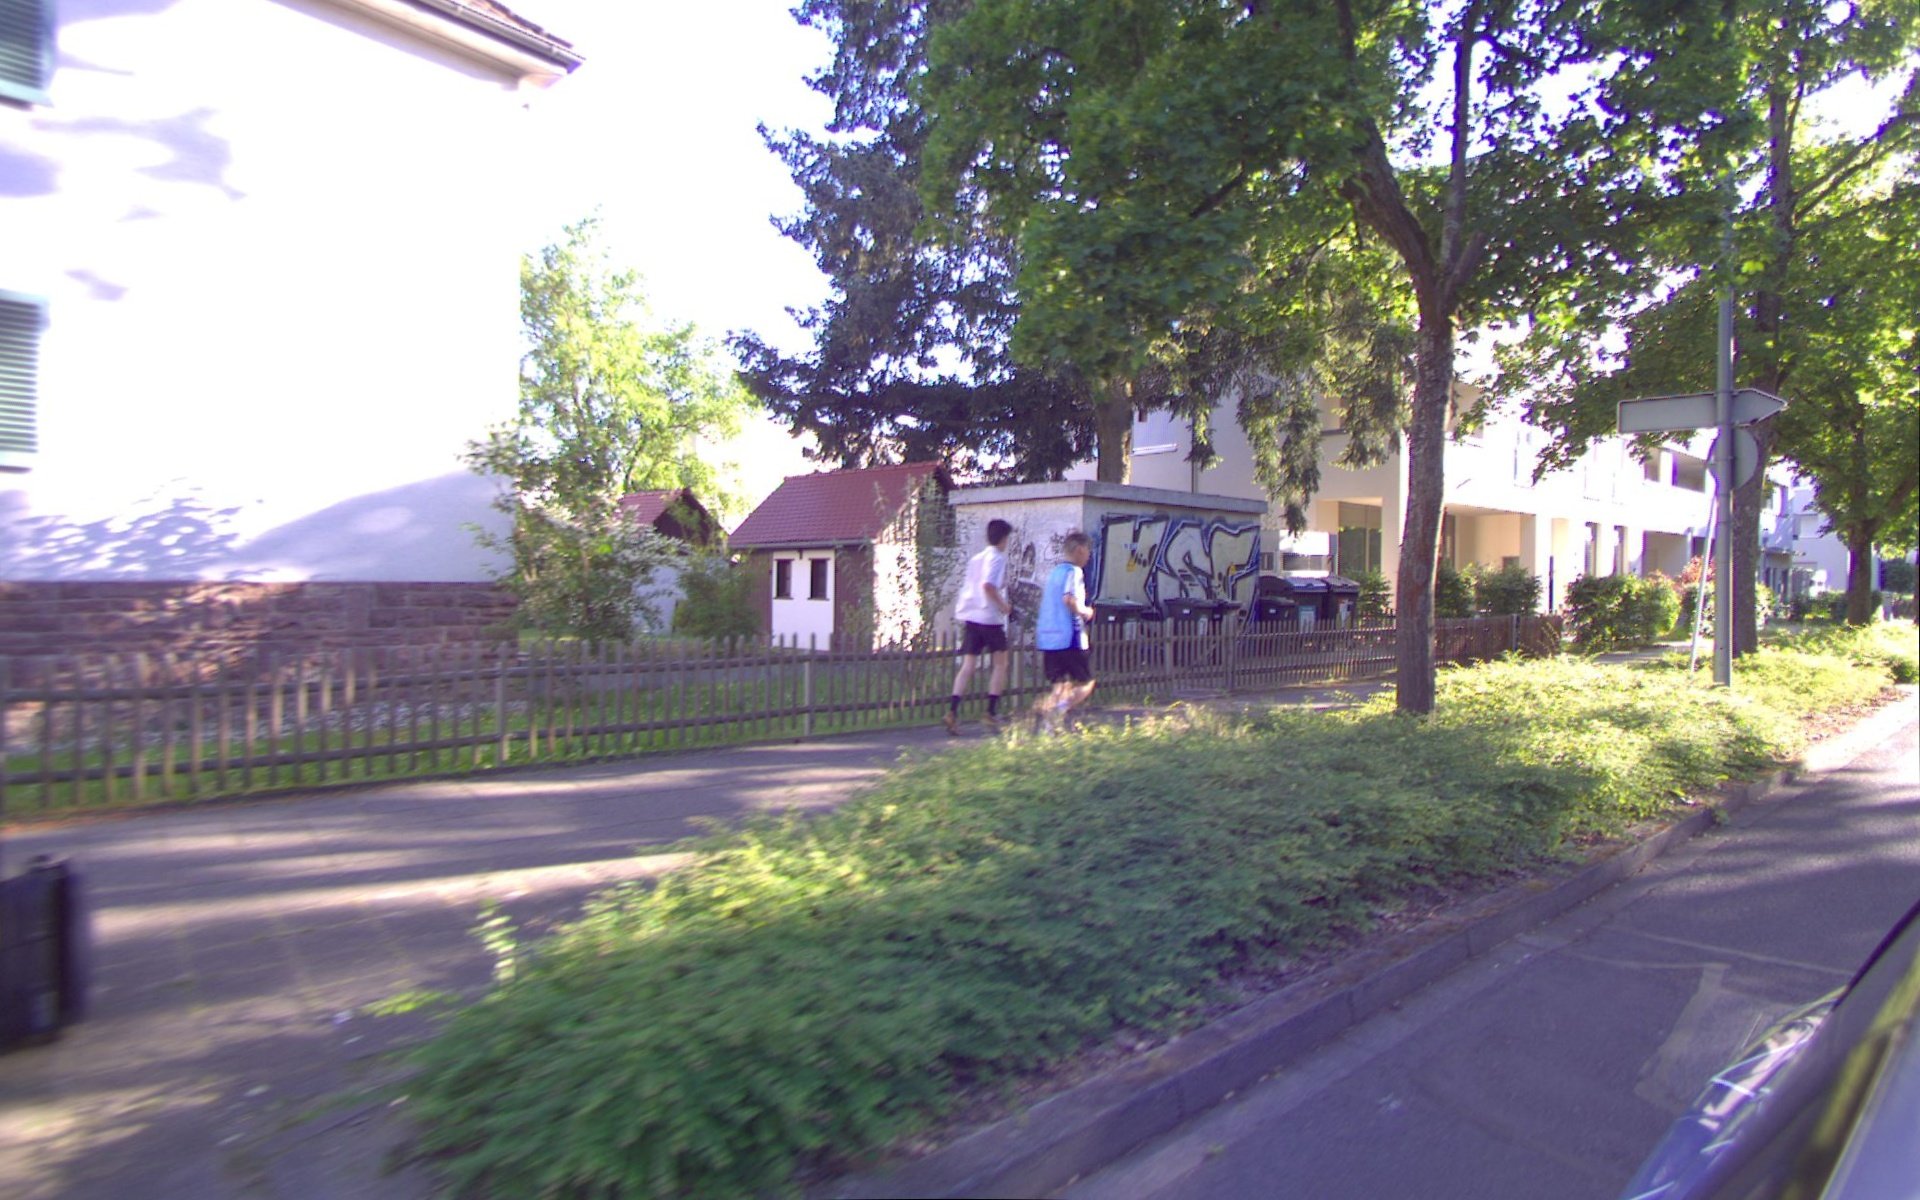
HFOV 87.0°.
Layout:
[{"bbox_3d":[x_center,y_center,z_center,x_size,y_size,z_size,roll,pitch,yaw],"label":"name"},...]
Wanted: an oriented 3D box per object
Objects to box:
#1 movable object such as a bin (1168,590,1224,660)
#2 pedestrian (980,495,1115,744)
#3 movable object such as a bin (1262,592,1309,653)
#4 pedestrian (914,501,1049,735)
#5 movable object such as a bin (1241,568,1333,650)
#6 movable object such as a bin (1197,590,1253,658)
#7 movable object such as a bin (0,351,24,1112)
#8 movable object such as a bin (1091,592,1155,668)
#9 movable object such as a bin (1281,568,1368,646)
[{"bbox_3d":[3.701,0.372,15.888,0.584,1.042,0.615,-1,3,-41],"label":"movable object such as a bin"},{"bbox_3d":[0.724,0.144,8.359,0.879,1.918,0.674,-1,0,-41],"label":"pedestrian"},{"bbox_3d":[5.780,0.390,17.995,0.604,1.042,0.539,-1,3,-42],"label":"movable object such as a bin"},{"bbox_3d":[0.197,0.140,8.888,1.001,1.918,0.643,-1,0,-41],"label":"pedestrian"},{"bbox_3d":[6.166,0.147,19.095,1.364,1.448,1.081,-1,3,-42],"label":"movable object such as a bin"},{"bbox_3d":[4.303,0.381,16.428,0.630,1.042,0.607,-1,3,-42],"label":"movable object such as a bin"},{"bbox_3d":[-2.882,0.300,2.041,1.369,1.877,1.924,-1,0,-41],"label":"movable object such as a bin"},{"bbox_3d":[2.376,0.419,14.727,0.634,1.042,0.644,-1,3,-42],"label":"movable object such as a bin"},{"bbox_3d":[7.233,0.115,20.062,1.343,1.444,1.081,-1,3,-42],"label":"movable object such as a bin"}]
